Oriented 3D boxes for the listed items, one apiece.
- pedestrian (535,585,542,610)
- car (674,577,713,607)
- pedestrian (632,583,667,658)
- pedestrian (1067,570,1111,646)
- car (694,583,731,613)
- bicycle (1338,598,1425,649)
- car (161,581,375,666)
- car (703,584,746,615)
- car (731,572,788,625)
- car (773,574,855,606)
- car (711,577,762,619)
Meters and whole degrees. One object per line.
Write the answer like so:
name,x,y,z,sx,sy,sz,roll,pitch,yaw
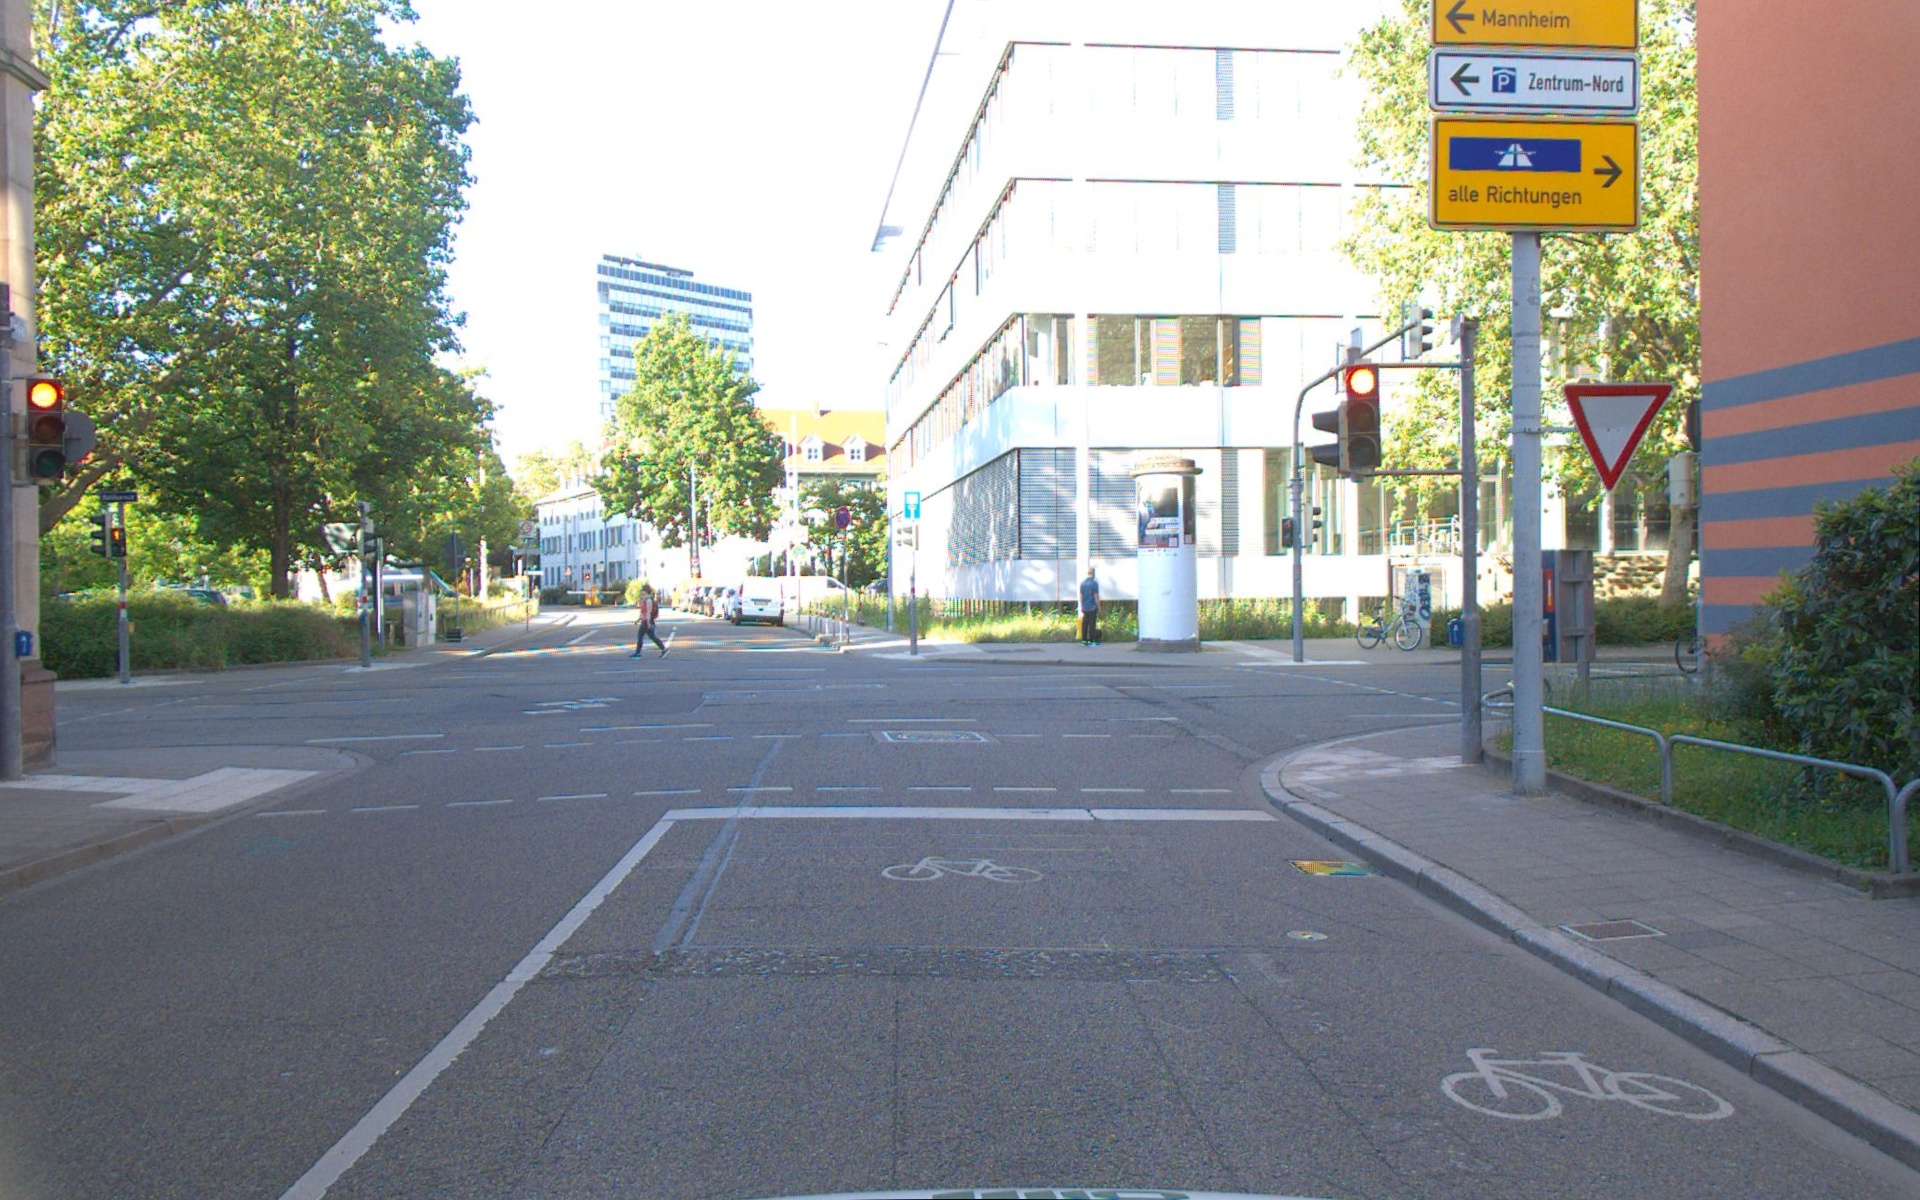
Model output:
pedestrian,-27.381,-0.167,107.473,0.373,1.561,0.444,-1,0,-13
car,-15.384,-0.469,95.414,2.063,1.687,4.463,-1,1,-11
pedestrian,-6.831,0.447,36.425,0.698,1.627,0.616,-1,0,-8
pedestrian,3.026,0.178,38.840,0.798,1.766,0.650,-1,0,45
car,-12.853,-0.115,85.631,1.674,1.490,4.226,-1,1,-11
bicycle,9.221,0.503,36.238,0.460,1.067,1.886,-1,1,-42
car,-15.766,0.508,37.893,4.146,1.808,1.901,-1,0,-9
car,-11.567,-0.022,81.146,1.675,1.449,4.223,-1,1,-14
car,-7.865,-0.075,64.511,2.029,1.997,4.229,-1,1,-9
car,-9.077,-0.592,102.696,4.804,1.905,1.990,0,0,-17
car,-10.356,-0.109,76.391,1.913,1.826,4.224,-1,1,-13
